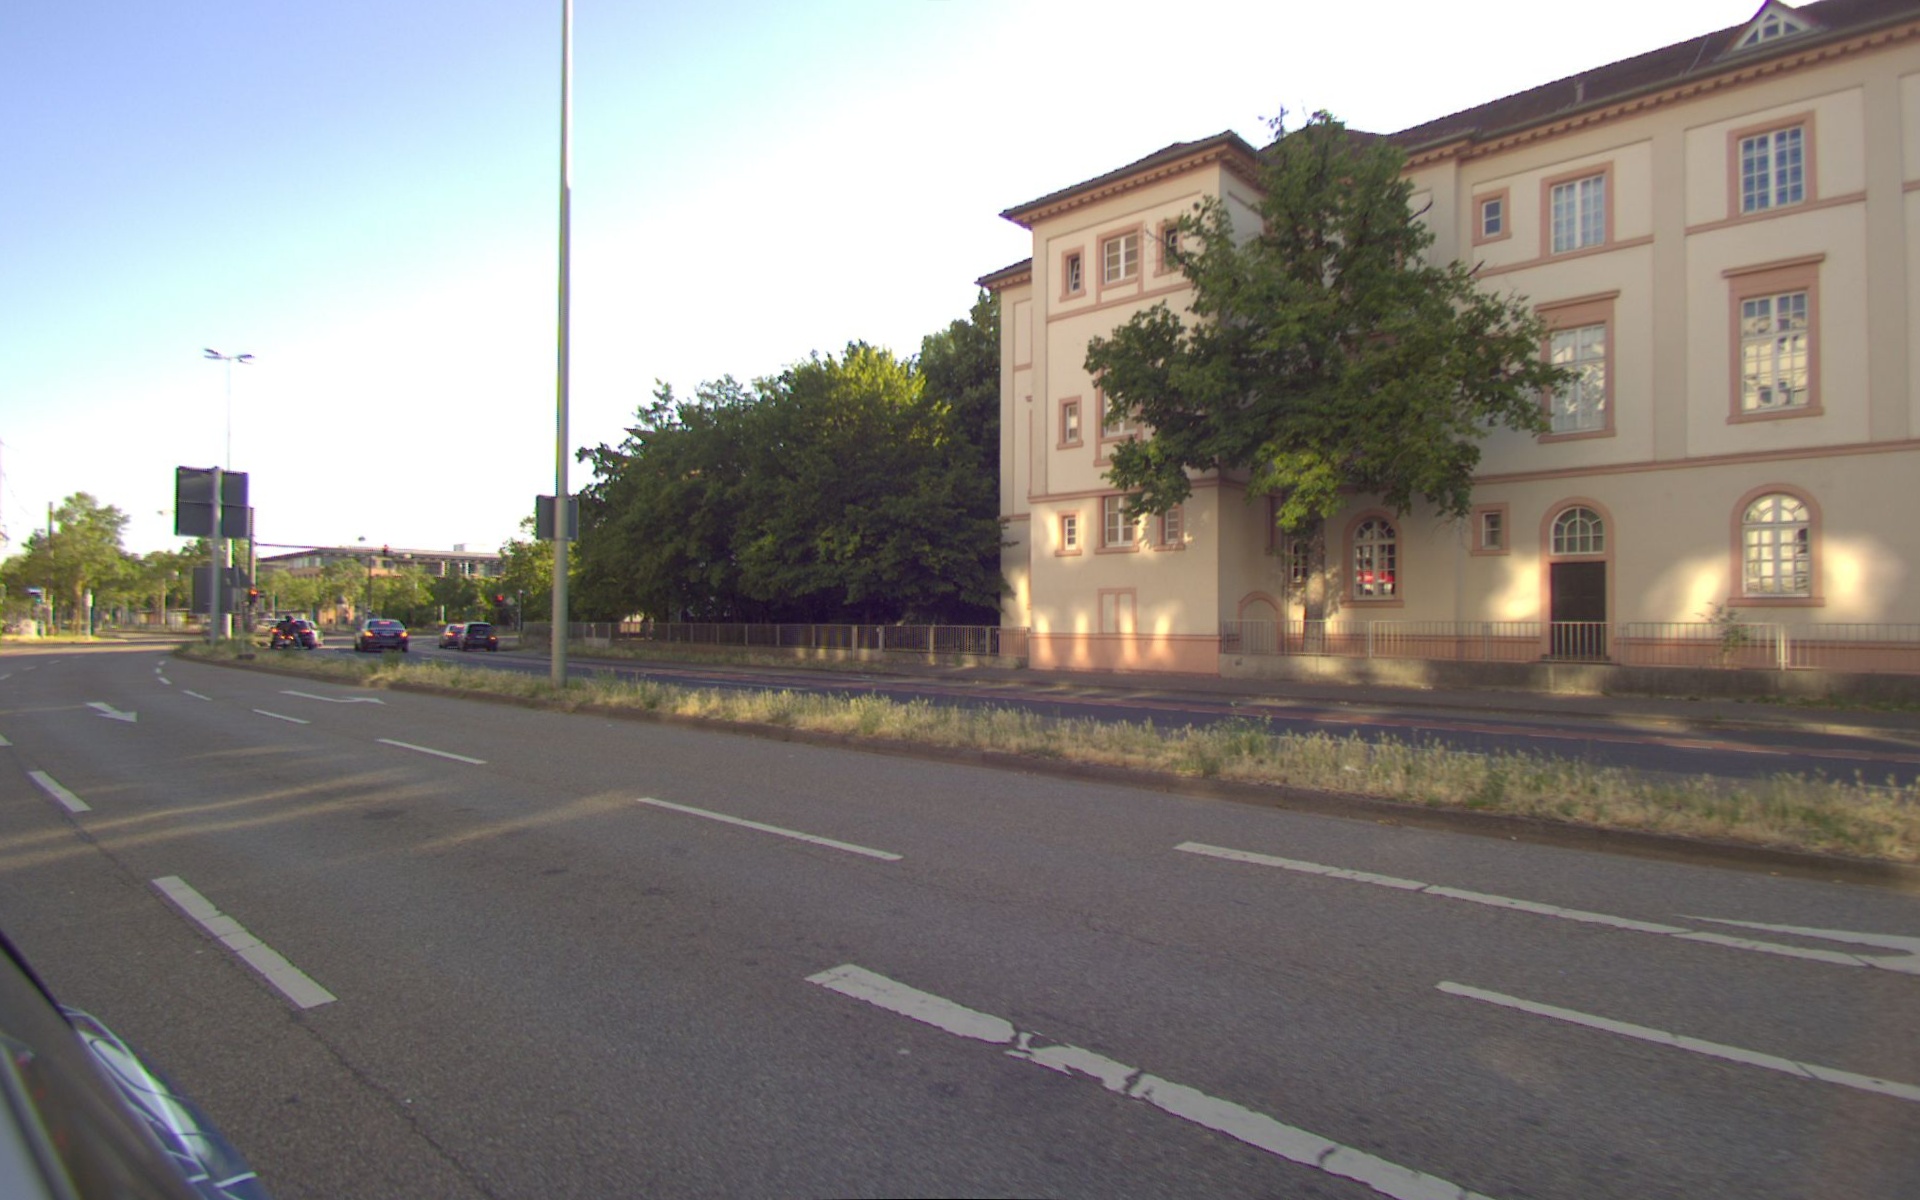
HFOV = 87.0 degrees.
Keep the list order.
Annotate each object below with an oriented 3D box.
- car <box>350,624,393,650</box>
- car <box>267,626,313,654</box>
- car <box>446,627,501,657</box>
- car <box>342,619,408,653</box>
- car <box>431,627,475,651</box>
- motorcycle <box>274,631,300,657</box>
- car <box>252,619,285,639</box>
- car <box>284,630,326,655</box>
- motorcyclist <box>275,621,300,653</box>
[{"bbox_3d":[-31.421,1.950,53.967,1.695,1.329,3.904,1,-2,-34],"label":"car"},{"bbox_3d":[-32.596,1.931,49.328,1.695,1.306,4.389,1,-2,-32],"label":"car"},{"bbox_3d":[-24.996,2.108,51.920,1.829,1.475,4.009,1,-2,-36],"label":"car"},{"bbox_3d":[-27.324,1.667,47.199,1.968,1.507,5.303,2,-2,-38],"label":"car"},{"bbox_3d":[-28.637,2.164,57.104,1.695,1.306,3.904,1,-2,-34],"label":"car"},{"bbox_3d":[-30.200,1.964,45.436,0.847,1.116,2.477,1,-2,-32],"label":"motorcycle"},{"bbox_3d":[-58.645,2.462,85.845,1.968,1.586,4.007,2,-2,-39],"label":"car"},{"bbox_3d":[-35.657,2.283,55.183,1.695,1.306,4.261,1,-2,-30],"label":"car"},{"bbox_3d":[-30.129,1.673,45.352,0.840,1.409,1.064,1,-2,-32],"label":"motorcyclist"}]
